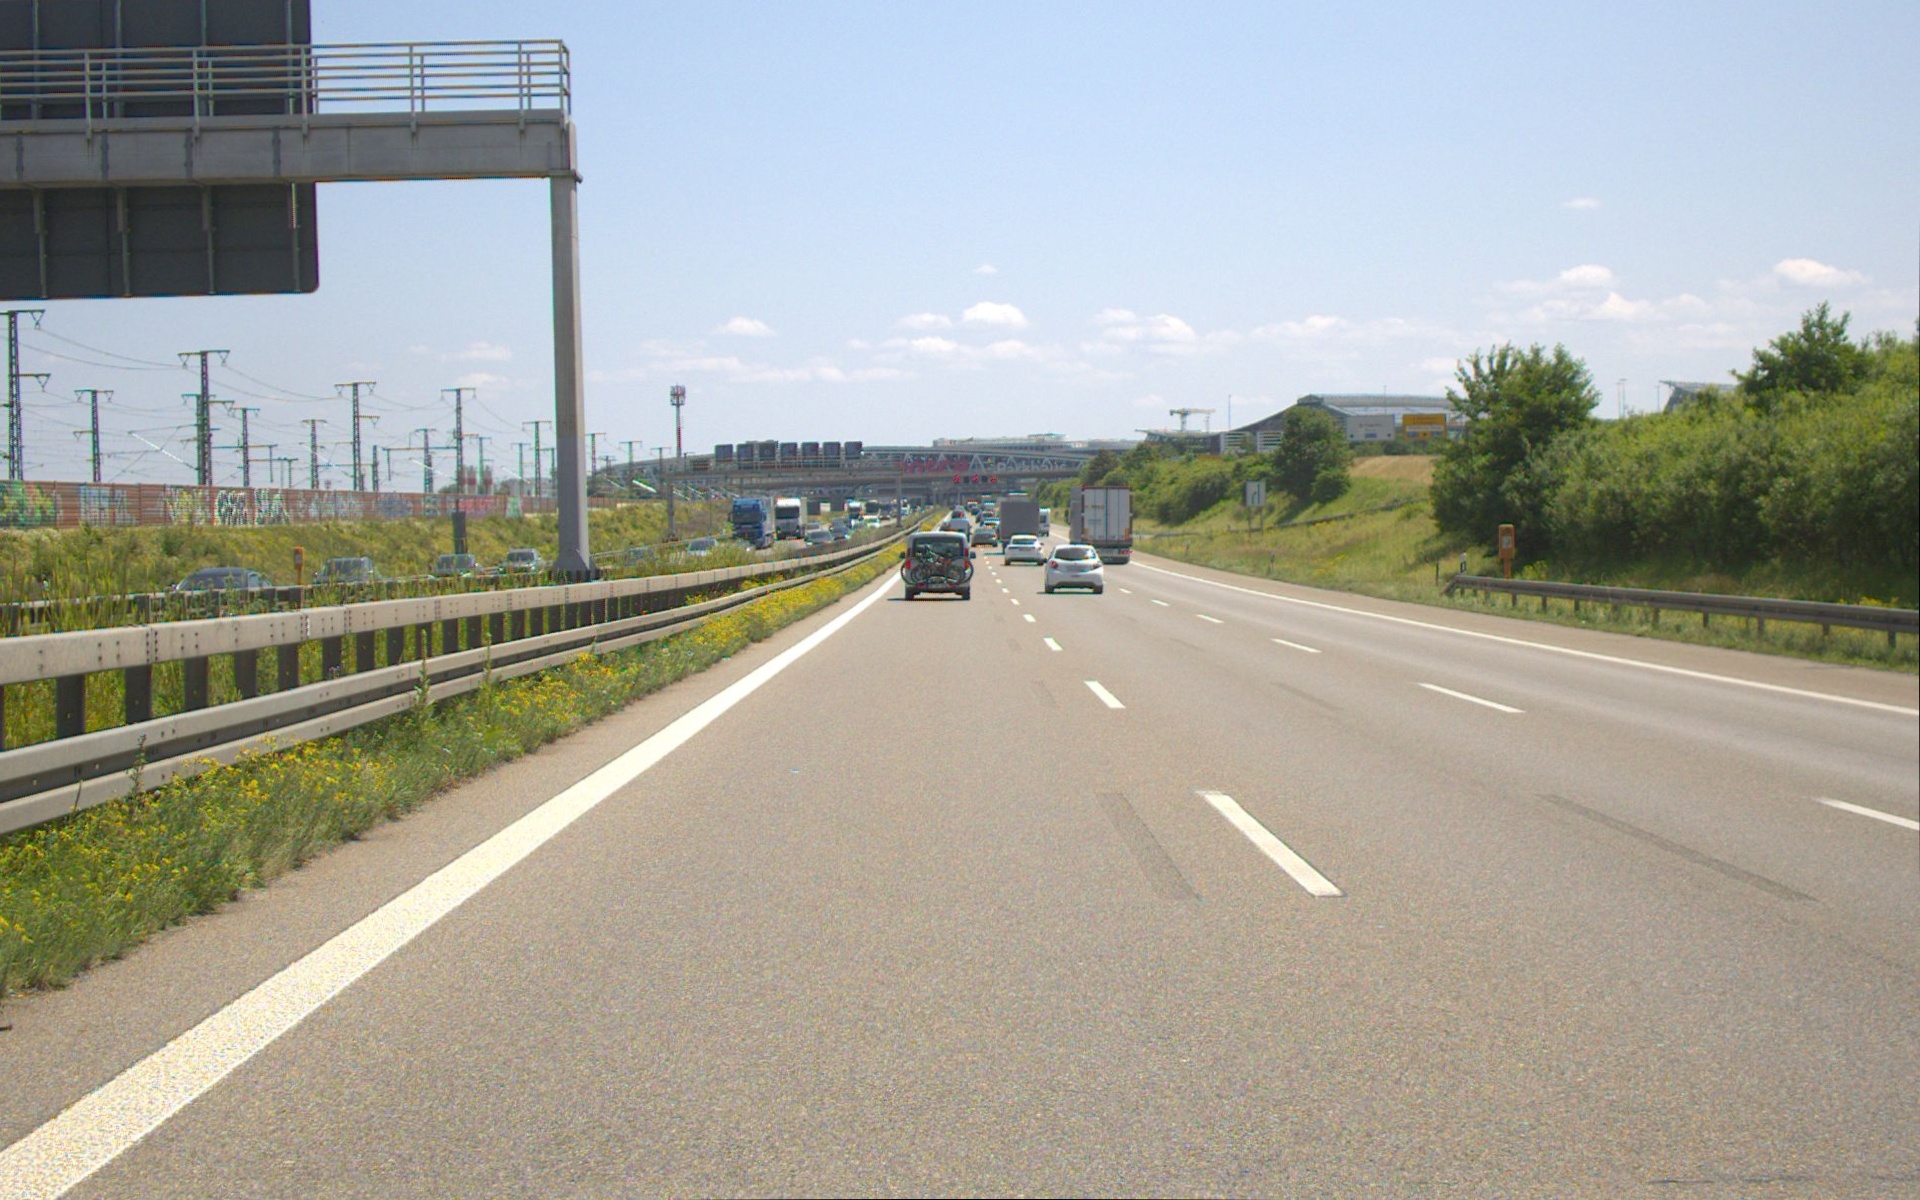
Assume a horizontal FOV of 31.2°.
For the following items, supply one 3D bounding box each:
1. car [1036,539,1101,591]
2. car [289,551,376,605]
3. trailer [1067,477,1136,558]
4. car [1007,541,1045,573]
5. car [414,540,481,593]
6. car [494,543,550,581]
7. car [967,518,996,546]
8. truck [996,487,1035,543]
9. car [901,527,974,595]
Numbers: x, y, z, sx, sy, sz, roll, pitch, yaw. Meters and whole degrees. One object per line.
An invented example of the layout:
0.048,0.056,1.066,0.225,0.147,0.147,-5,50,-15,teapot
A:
3.313,-1.064,104.015,1.881,1.521,4.000,0,1,3,car
-20.833,-0.750,114.300,1.993,1.720,4.513,0,1,1,car
7.286,-4.296,178.430,3.177,4.045,9.440,-1,2,0,trailer
3.260,-2.136,169.751,1.881,1.521,4.000,0,1,1,car
-20.318,-1.313,136.418,1.993,2.007,4.309,1,0,0,car
-20.312,-1.795,159.467,1.993,1.720,4.513,0,1,0,car
1.530,-4.856,246.257,1.993,2.007,4.000,0,1,0,car
3.438,-5.296,214.249,2.355,3.404,6.058,0,2,0,truck
-0.588,-1.065,92.520,1.881,1.769,4.000,-1,1,0,car
